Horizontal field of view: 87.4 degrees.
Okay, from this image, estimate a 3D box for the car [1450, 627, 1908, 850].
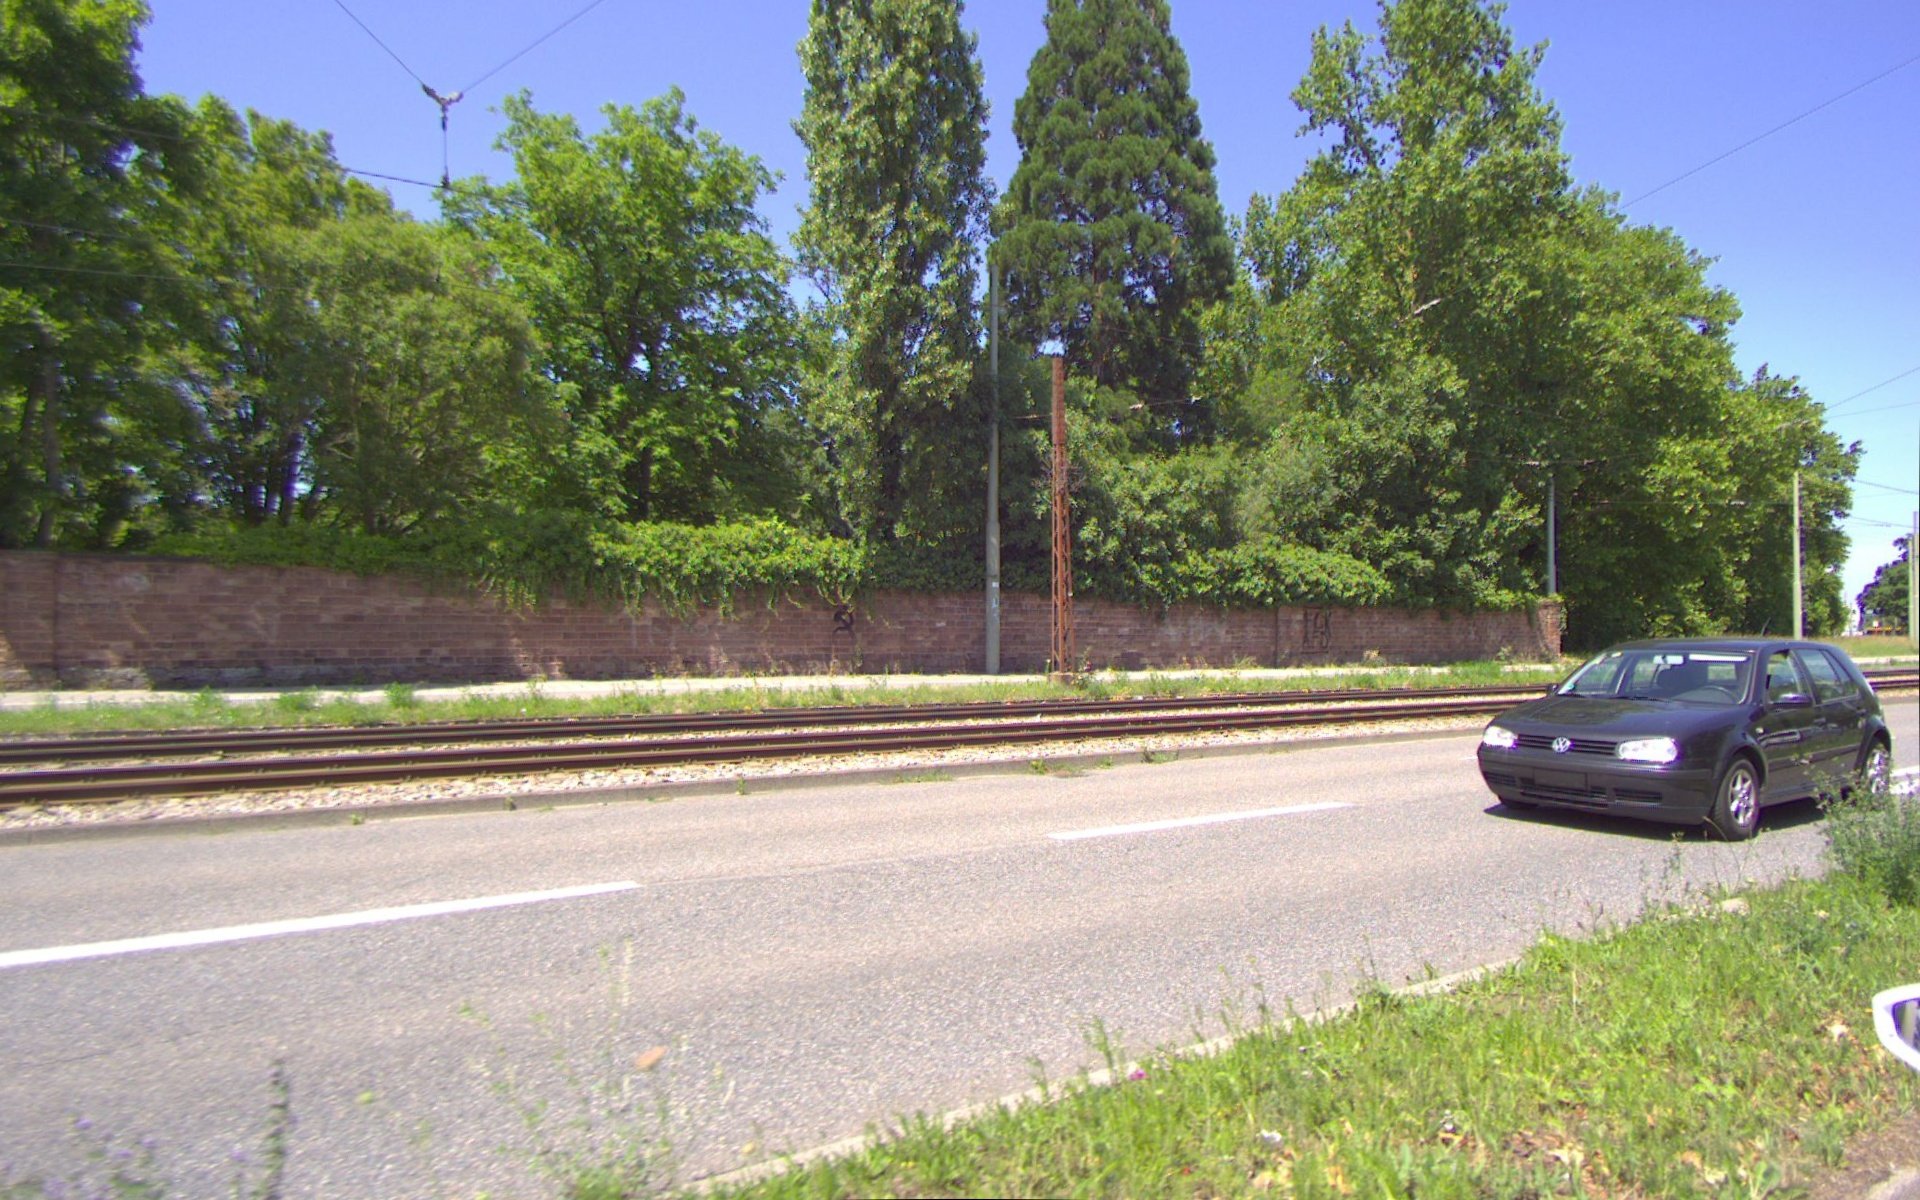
[{"bbox_3d":[6.074,0.977,8.412,3.868,1.478,1.708,1,-2,-31],"label":"car"}]
